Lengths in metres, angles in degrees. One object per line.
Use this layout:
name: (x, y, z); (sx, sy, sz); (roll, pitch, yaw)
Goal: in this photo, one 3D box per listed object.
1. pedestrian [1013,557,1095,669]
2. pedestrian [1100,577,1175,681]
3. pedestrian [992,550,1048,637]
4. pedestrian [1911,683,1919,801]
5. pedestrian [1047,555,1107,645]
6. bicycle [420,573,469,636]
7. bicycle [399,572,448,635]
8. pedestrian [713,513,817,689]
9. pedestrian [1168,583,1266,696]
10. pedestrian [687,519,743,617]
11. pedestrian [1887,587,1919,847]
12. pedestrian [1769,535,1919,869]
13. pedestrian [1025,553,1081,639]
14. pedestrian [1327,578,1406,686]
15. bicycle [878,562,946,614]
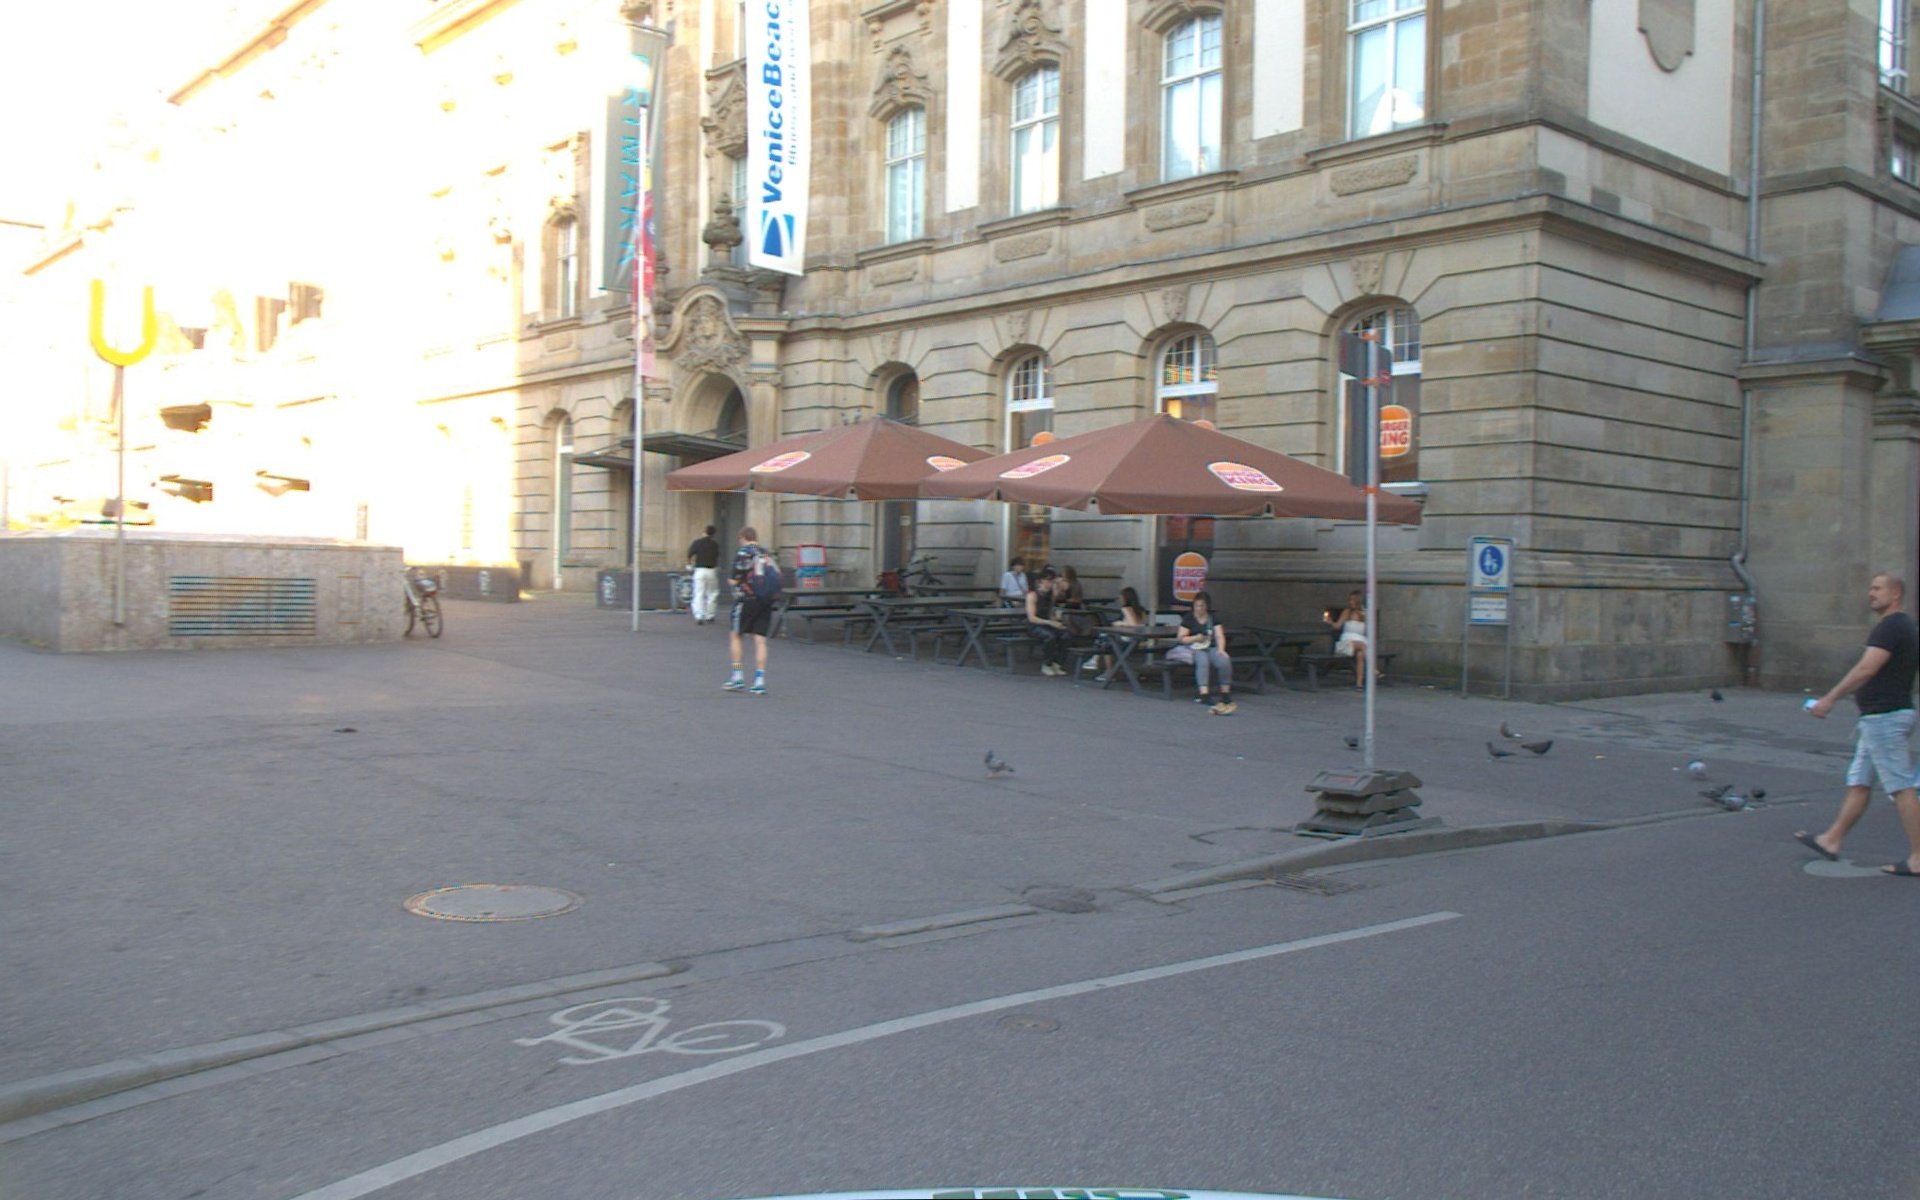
pedestrian: (1.237, 0.175, 21.811); (0.795, 1.406, 0.647); (2, 3, -30)
pedestrian: (2.248, 0.367, 21.034); (0.607, 1.247, 0.695); (2, 2, -26)
pedestrian: (0.953, -0.104, 26.198); (0.589, 1.331, 0.573); (1, 3, -45)
pedestrian: (8.147, 0.672, 13.011); (0.860, 1.871, 0.861); (6, 4, 44)
pedestrian: (1.798, 0.001, 25.395); (0.605, 1.331, 0.599); (1, 3, -45)
bicycle: (-7.556, 0.052, 24.242); (0.314, 0.882, 0.985); (-1, 2, -41)
bicycle: (-7.799, 0.046, 24.028); (0.314, 0.882, 0.985); (-1, 2, -41)
pedestrian: (-2.118, -0.006, 17.961); (0.802, 1.855, 0.796); (0, 2, -36)
pedestrian: (3.061, 0.467, 19.750); (0.769, 1.264, 0.821); (2, 3, -27)
pedestrian: (-4.140, -0.543, 27.896); (0.832, 1.593, 0.848); (2, 2, -12)
pedestrian: (6.445, 0.750, 10.341); (0.799, 1.609, 0.861); (3, 0, -41)
pedestrian: (5.473, 0.576, 9.868); (0.799, 1.871, 0.861); (3, 0, -41)
pedestrian: (1.493, -0.058, 26.567); (0.589, 1.331, 0.573); (1, 3, -42)
pedestrian: (5.330, 0.412, 21.719); (0.652, 1.331, 0.770); (1, 4, -16)
bicycle: (-0.858, -0.231, 29.916); (0.404, 0.909, 1.312); (3, 3, 45)
